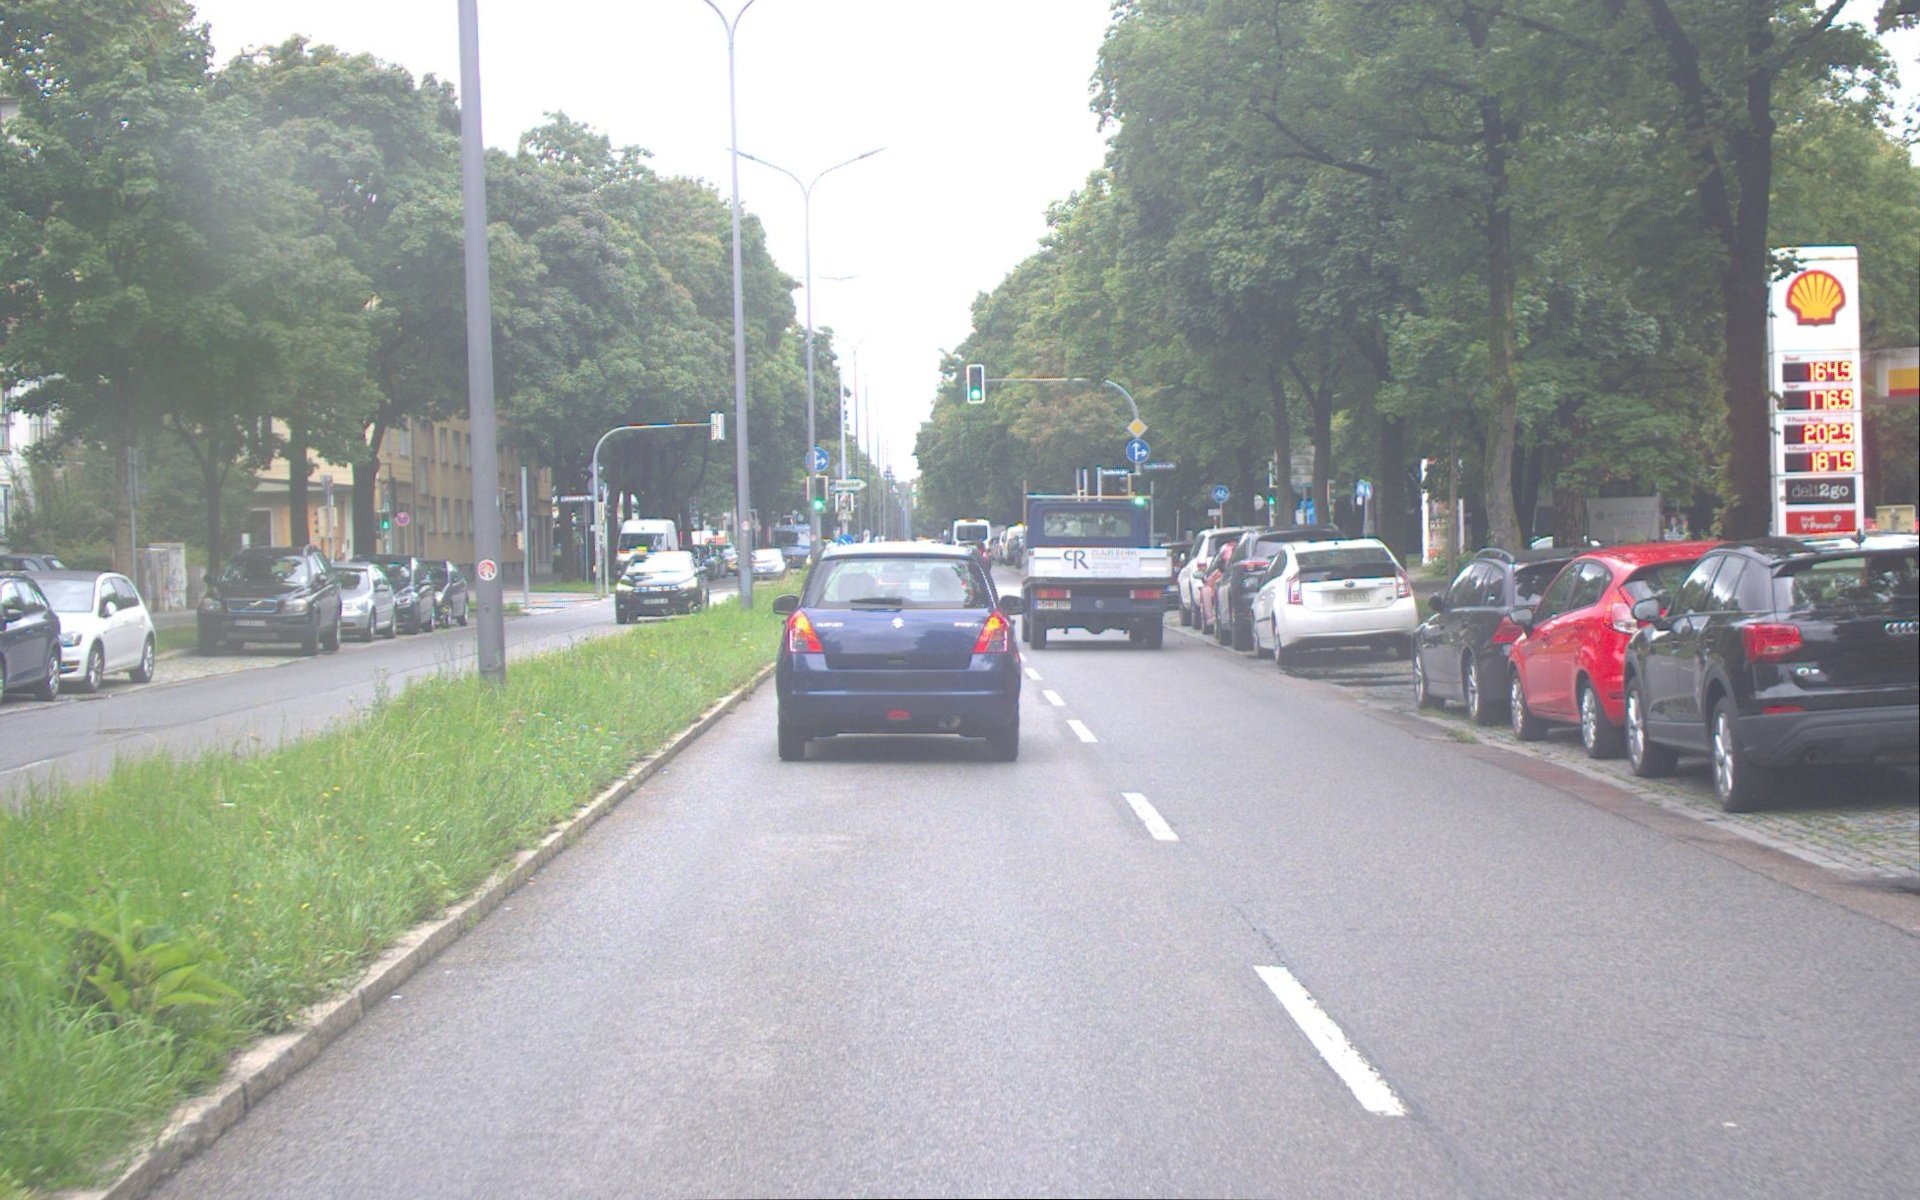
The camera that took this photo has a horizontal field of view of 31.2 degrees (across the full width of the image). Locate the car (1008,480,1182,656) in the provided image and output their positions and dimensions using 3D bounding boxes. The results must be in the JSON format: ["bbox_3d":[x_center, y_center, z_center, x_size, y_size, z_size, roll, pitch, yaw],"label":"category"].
[{"bbox_3d":[1.911,-0.500,50.173,2.419,2.435,5.087,0,1,1],"label":"car"}]

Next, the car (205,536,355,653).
[{"bbox_3d":[-11.148,-0.134,56.634,1.796,1.757,5.059,1,1,-5],"label":"car"}]

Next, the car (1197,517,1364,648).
[{"bbox_3d":[4.531,-0.291,49.289,1.760,1.692,5.230,-3,1,-1],"label":"car"}]

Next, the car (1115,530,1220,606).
[{"bbox_3d":[4.393,-0.700,73.341,1.712,1.419,4.284,-5,1,-2],"label":"car"}]

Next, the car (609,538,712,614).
[{"bbox_3d":[-6.158,-0.520,70.974,1.739,1.435,4.215,-2,1,0],"label":"car"}]

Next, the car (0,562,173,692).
[{"bbox_3d":[-11.138,0.290,42.762,1.674,1.438,4.320,2,1,0],"label":"car"}]

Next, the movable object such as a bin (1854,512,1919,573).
[{"bbox_3d":[23.370,-1.433,84.907,2.060,1.481,1.837,-1,1,0],"label":"movable object such as a bin"}]

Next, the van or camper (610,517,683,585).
[{"bbox_3d":[-11.948,-1.899,131.334,2.140,2.467,6.259,-2,1,0],"label":"van or camper"}]

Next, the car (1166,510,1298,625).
[{"bbox_3d":[4.657,-0.588,59.395,1.760,1.824,4.529,-3,1,-1],"label":"car"}]

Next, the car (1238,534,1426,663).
[{"bbox_3d":[4.663,-0.065,43.729,1.760,1.448,4.633,-3,1,-1],"label":"car"}]

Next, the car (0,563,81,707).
[{"bbox_3d":[-11.092,0.358,37.986,1.674,1.470,4.215,2,1,0],"label":"car"}]

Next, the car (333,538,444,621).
[{"bbox_3d":[-11.341,-0.428,68.450,1.666,1.557,4.300,-1,1,-3],"label":"car"}]

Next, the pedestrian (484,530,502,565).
[{"bbox_3d":[-19.095,-2.135,140.599,0.629,1.435,0.806,0,1,0],"label":"pedestrian"}]

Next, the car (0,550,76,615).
[{"bbox_3d":[-22.342,-0.381,79.020,3.632,1.457,1.672,-1,1,-3],"label":"car"}]

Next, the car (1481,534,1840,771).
[{"bbox_3d":[5.003,0.314,25.060,1.675,1.496,4.022,-3,1,-1],"label":"car"}]

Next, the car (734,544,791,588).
[{"bbox_3d":[-6.866,-1.205,119.589,1.737,1.437,4.103,-2,1,-1],"label":"car"}]

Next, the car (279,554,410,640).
[{"bbox_3d":[-11.309,-0.082,63.423,1.666,1.440,4.375,2,1,-1],"label":"car"}]

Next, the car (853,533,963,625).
[{"bbox_3d":[-0.881,-0.384,59.099,1.799,1.494,3.660,-1,1,0],"label":"car"}]

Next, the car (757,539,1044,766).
[{"bbox_3d":[-0.504,0.318,24.771,1.896,1.494,3.661,0,1,-4],"label":"car"}]

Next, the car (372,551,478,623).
[{"bbox_3d":[-11.485,-0.295,74.005,1.564,1.445,3.838,2,1,1],"label":"car"}]

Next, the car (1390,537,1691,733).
[{"bbox_3d":[4.880,0.238,29.483,1.675,1.448,4.583,-3,1,-1],"label":"car"}]

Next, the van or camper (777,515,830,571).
[{"bbox_3d":[-6.562,-2.417,144.920,2.023,2.253,6.022,-2,1,-1],"label":"van or camper"}]

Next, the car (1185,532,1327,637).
[{"bbox_3d":[4.636,-0.274,54.348,1.760,1.501,4.144,-3,1,-1],"label":"car"}]

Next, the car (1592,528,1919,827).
[{"bbox_3d":[5.062,0.374,20.598,1.779,1.506,4.285,-3,1,1],"label":"car"}]

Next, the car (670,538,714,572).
[{"bbox_3d":[-11.831,-2.000,151.996,1.636,1.437,3.735,-2,1,0],"label":"car"}]
